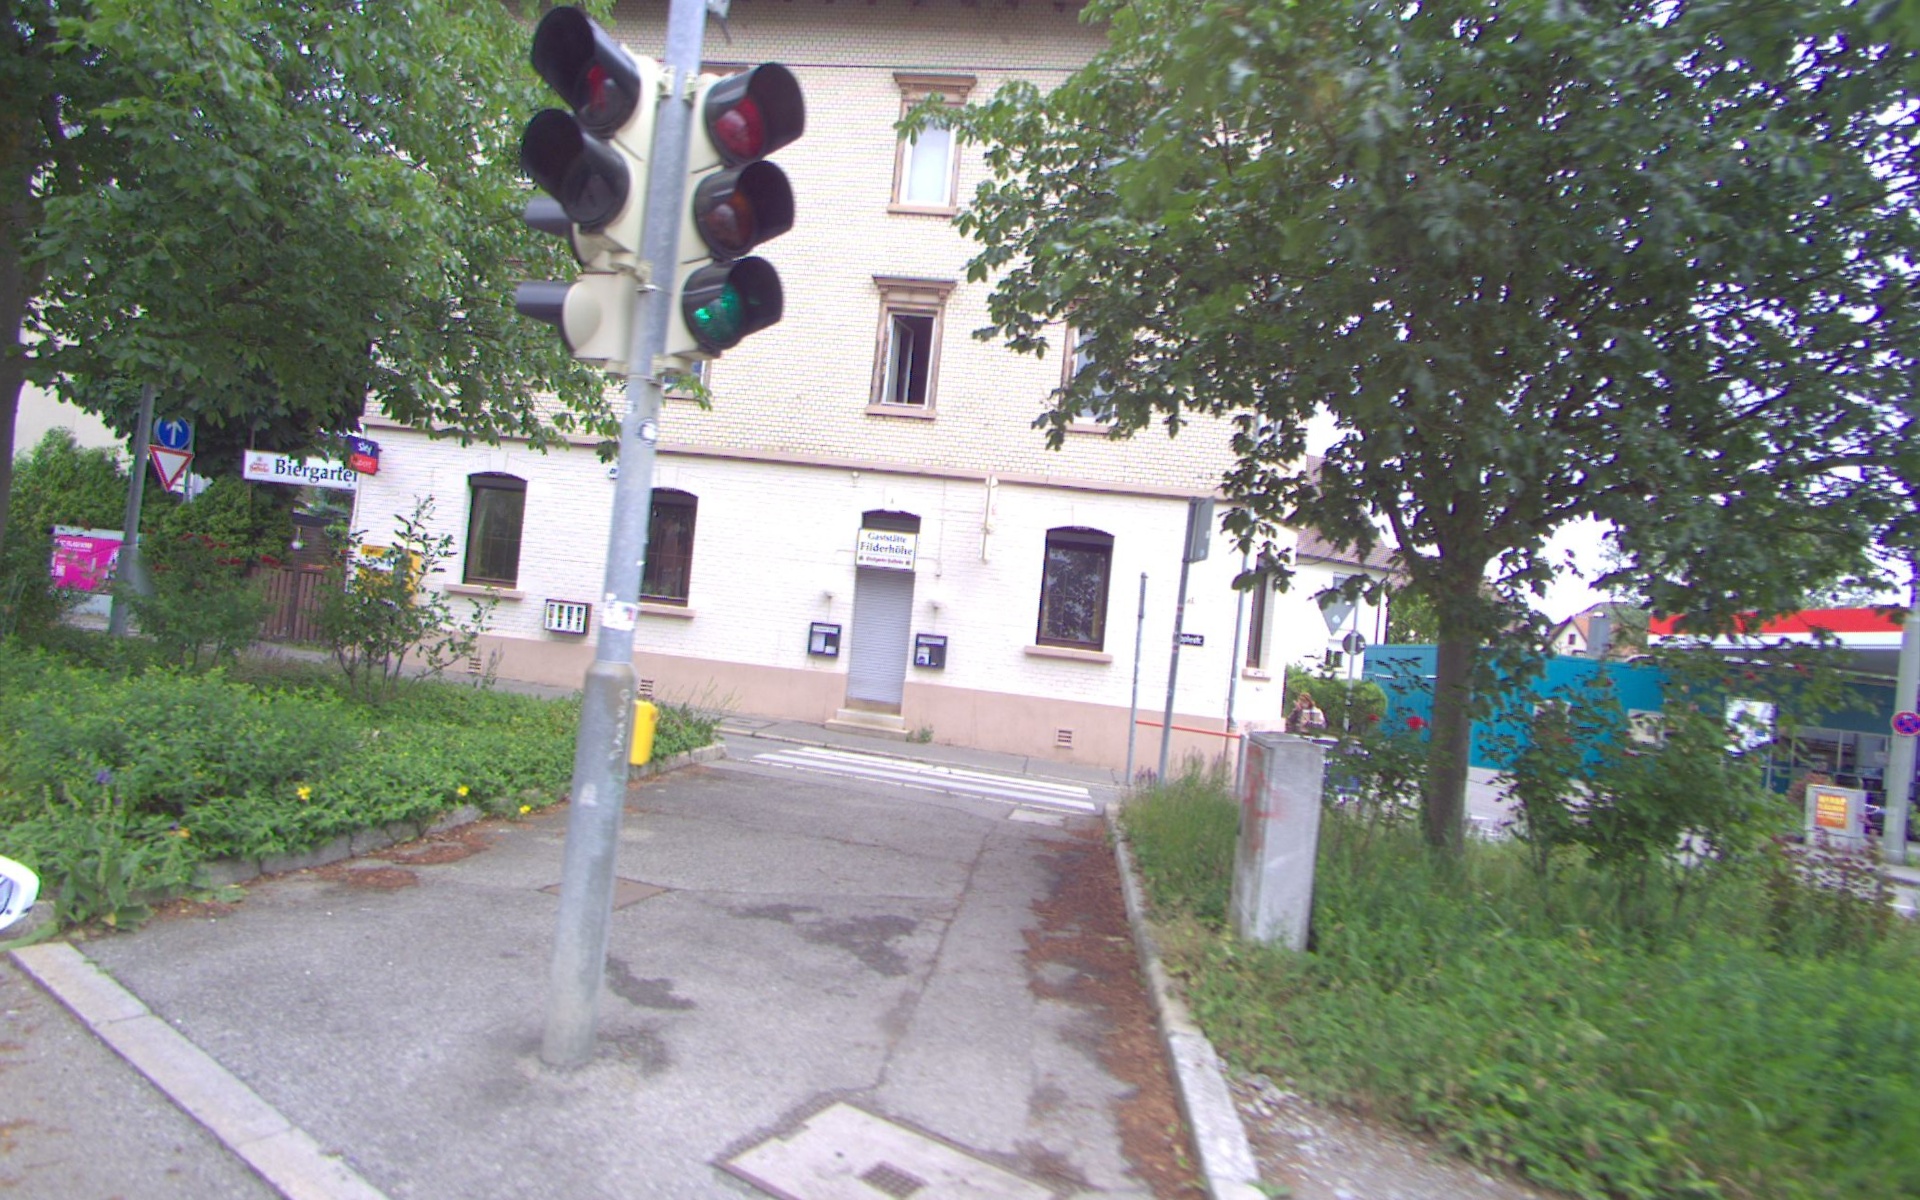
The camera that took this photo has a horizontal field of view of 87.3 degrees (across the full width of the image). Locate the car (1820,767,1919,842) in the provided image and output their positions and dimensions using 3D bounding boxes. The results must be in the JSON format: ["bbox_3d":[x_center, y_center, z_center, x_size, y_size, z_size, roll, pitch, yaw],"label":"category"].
[{"bbox_3d":[24.646,5.298,25.304,4.403,1.478,1.924,7,-2,-3],"label":"car"}]

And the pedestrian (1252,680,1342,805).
[{"bbox_3d":[5.259,2.214,15.664,0.847,1.751,1.020,7,-3,37],"label":"pedestrian"}]
